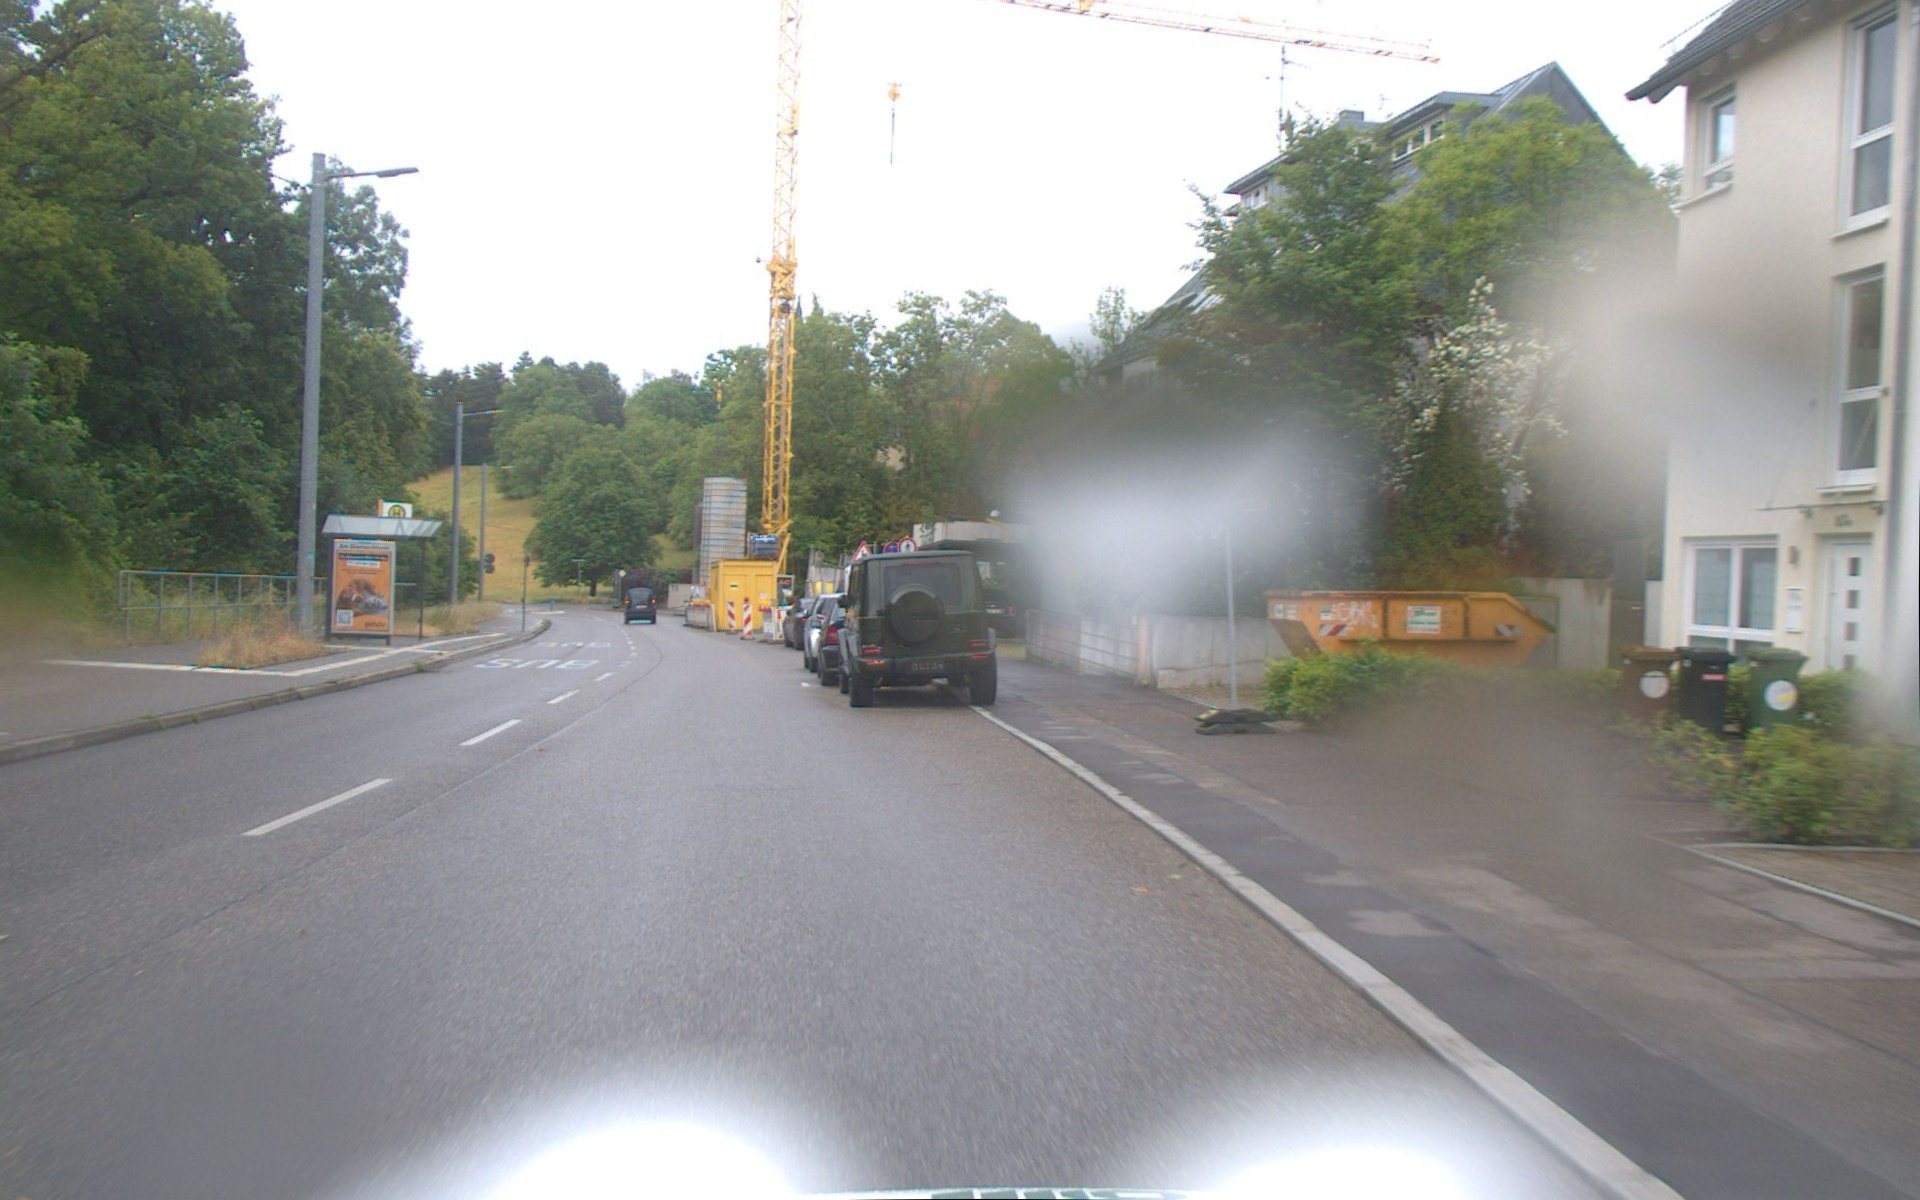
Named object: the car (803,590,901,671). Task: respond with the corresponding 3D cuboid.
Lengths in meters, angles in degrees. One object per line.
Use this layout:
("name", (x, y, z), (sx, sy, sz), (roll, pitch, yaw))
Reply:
("car", (-2.152, 0.561, 32.253), (1.642, 1.483, 3.379), (0, 0, -8))

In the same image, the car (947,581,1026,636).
("car", (0.767, 0.254, 49.987), (1.664, 1.498, 3.992), (4, 0, -9))

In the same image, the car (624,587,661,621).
("car", (-16.967, 0.223, 88.318), (1.898, 1.782, 3.988), (0, 0, -12))

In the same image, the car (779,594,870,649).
("car", (-3.877, 0.560, 46.515), (1.898, 1.447, 4.821), (1, 0, -13))

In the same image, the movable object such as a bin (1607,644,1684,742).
("movable object such as a bin", (6.924, 0.930, 16.721), (0.497, 0.957, 0.594), (0, 0, -7))

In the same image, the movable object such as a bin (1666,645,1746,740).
("movable object such as a bin", (7.551, 0.927, 16.754), (0.497, 0.927, 0.594), (0, 0, -7))

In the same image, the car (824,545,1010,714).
("car", (-0.727, 0.356, 23.119), (1.957, 2.049, 4.946), (-1, 0, -9))

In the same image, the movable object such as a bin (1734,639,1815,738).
("movable object such as a bin", (8.303, 0.893, 16.879), (0.497, 0.971, 0.594), (0, 0, -7))

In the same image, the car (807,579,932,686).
("car", (-1.613, 0.508, 28.107), (1.894, 1.624, 4.389), (-2, 0, -6))
